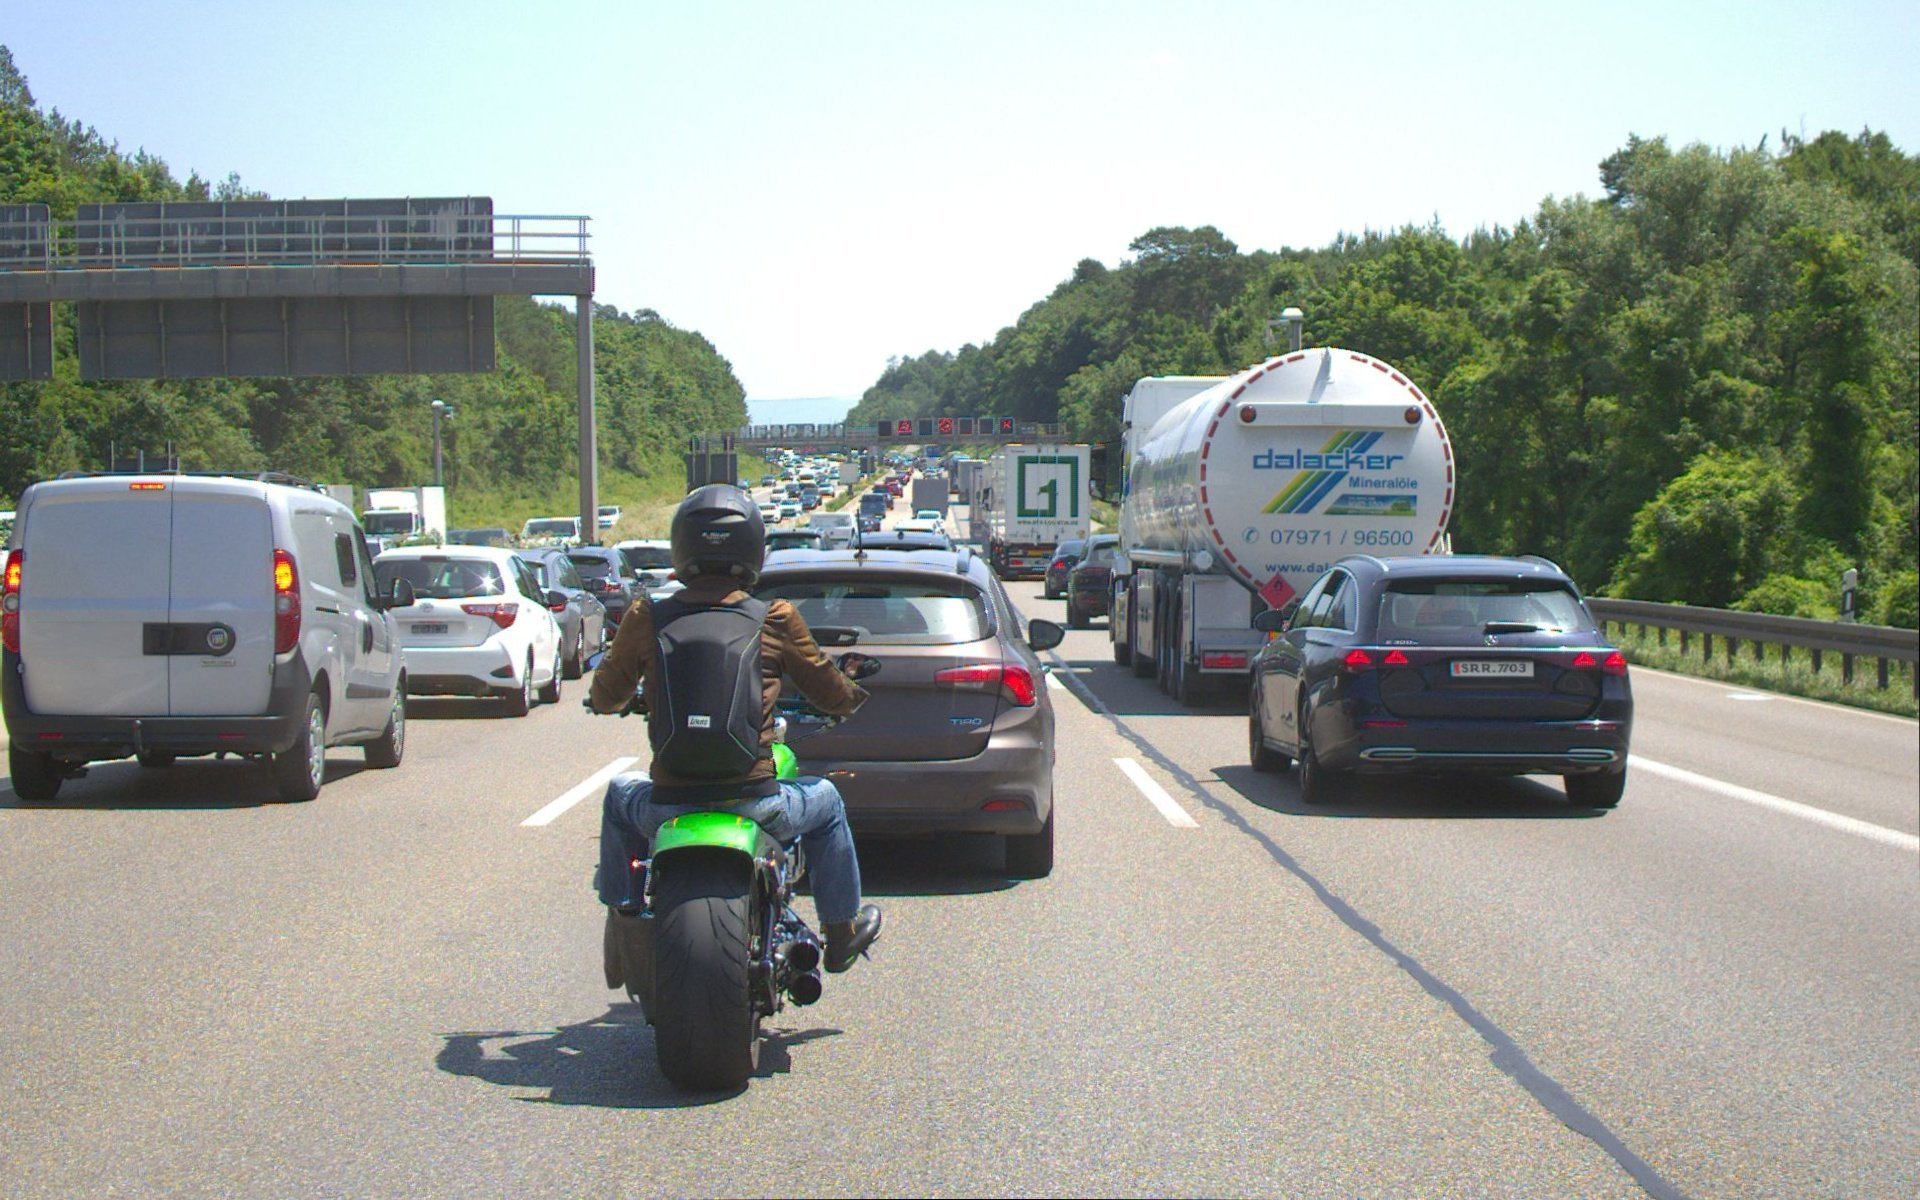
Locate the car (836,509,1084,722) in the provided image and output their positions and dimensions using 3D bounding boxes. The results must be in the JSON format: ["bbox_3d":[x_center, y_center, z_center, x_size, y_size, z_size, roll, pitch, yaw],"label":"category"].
[{"bbox_3d":[-0.045,0.123,29.930,1.993,1.705,4.000,1,0,-1],"label":"car"}]

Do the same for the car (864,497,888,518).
[{"bbox_3d":[-6.388,-7.041,261.293,1.770,1.550,4.000,0,1,0],"label":"car"}]

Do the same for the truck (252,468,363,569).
[{"bbox_3d":[-19.714,-2.416,104.182,2.177,2.875,6.743,1,0,-1],"label":"truck"}]

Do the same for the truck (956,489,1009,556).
[{"bbox_3d":[0.756,-2.527,112.469,1.591,2.104,3.751,1,0,2],"label":"truck"}]

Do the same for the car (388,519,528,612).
[{"bbox_3d":[-8.279,-0.595,56.975,1.824,1.489,4.000,0,1,-1],"label":"car"}]

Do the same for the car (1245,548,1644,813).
[{"bbox_3d":[2.890,0.446,21.467,1.792,1.453,4.624,1,0,0],"label":"car"}]

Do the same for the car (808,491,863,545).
[{"bbox_3d":[-4.817,-3.170,133.517,1.993,2.007,4.000,0,1,0],"label":"car"}]

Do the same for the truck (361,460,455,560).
[{"bbox_3d":[-23.199,-3.717,144.783,2.692,3.976,7.990,1,0,0],"label":"truck"}]

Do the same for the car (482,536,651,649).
[{"bbox_3d":[-5.343,-0.102,47.155,1.993,1.459,4.000,1,0,-2],"label":"car"}]

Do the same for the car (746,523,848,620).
[{"bbox_3d":[-3.477,-0.608,73.883,1.993,2.007,4.000,1,0,0],"label":"car"}]

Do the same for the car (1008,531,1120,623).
[{"bbox_3d":[1.765,-0.383,59.397,1.776,1.522,4.000,1,0,0],"label":"car"}]

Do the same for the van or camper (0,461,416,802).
[{"bbox_3d":[-4.612,0.116,21.357,1.853,1.874,4.562,1,1,-2],"label":"van or camper"}]

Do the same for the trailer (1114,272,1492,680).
[{"bbox_3d":[3.341,-1.126,36.463,2.828,3.658,10.733,1,0,0],"label":"trailer"}]

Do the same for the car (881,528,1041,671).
[{"bbox_3d":[-0.034,-0.013,45.173,1.993,1.769,4.000,1,0,-1],"label":"car"}]

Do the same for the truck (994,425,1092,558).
[{"bbox_3d":[2.589,-3.252,105.145,2.854,3.808,7.187,1,0,2],"label":"truck"}]

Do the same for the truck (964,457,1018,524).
[{"bbox_3d":[1.626,-5.829,184.805,2.696,3.394,10.479,0,1,0],"label":"truck"}]

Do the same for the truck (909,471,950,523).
[{"bbox_3d":[-2.039,-6.983,234.087,2.696,3.394,10.479,0,1,0],"label":"truck"}]

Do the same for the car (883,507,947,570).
[{"bbox_3d":[-1.448,-1.973,110.874,1.993,2.007,4.000,0,1,-1],"label":"car"}]

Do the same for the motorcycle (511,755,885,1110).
[{"bbox_3d":[-0.712,0.923,10.159,0.936,0.790,2.299,1,1,0],"label":"motorcycle"}]

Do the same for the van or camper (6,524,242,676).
[{"bbox_3d":[-11.704,-0.006,48.488,1.993,2.007,4.927,1,0,1],"label":"van or camper"}]

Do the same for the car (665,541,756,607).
[{"bbox_3d":[-5.646,-0.580,78.294,1.764,1.437,4.000,1,0,0],"label":"car"}]

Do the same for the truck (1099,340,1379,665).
[{"bbox_3d":[3.289,-1.112,42.183,2.828,3.658,6.429,1,0,0],"label":"truck"}]

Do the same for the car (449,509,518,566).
[{"bbox_3d":[-16.171,-2.099,116.805,1.784,1.831,4.294,1,0,-1],"label":"car"}]

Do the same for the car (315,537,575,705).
[{"bbox_3d":[-4.608,0.175,31.259,1.776,1.406,4.000,1,0,0],"label":"car"}]

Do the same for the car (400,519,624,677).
[{"bbox_3d":[-5.035,-0.023,39.156,1.993,1.678,4.330,1,0,0],"label":"car"}]

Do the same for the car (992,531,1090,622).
[{"bbox_3d":[1.815,-0.526,78.243,1.993,2.007,4.000,1,0,-2],"label":"car"}]

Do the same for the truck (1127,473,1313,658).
[{"bbox_3d":[4.393,-0.629,59.564,2.388,2.969,8.253,0,1,-1],"label":"truck"}]

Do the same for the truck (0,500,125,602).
[{"bbox_3d":[-19.241,-0.985,71.413,2.351,2.007,6.493,1,0,-1],"label":"truck"}]

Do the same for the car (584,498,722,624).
[{"bbox_3d":[-5.105,-0.633,57.570,1.993,2.007,4.000,1,0,-1],"label":"car"}]

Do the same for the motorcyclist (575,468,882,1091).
[{"bbox_3d":[-0.640,0.485,9.839,0.799,1.682,1.016,1,0,0],"label":"motorcyclist"}]

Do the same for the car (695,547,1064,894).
[{"bbox_3d":[-0.355,0.478,16.532,1.541,1.445,4.000,1,1,0],"label":"car"}]

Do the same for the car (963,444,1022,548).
[{"bbox_3d":[1.251,-4.105,137.892,2.167,3.879,9.330,1,0,0],"label":"car"}]
